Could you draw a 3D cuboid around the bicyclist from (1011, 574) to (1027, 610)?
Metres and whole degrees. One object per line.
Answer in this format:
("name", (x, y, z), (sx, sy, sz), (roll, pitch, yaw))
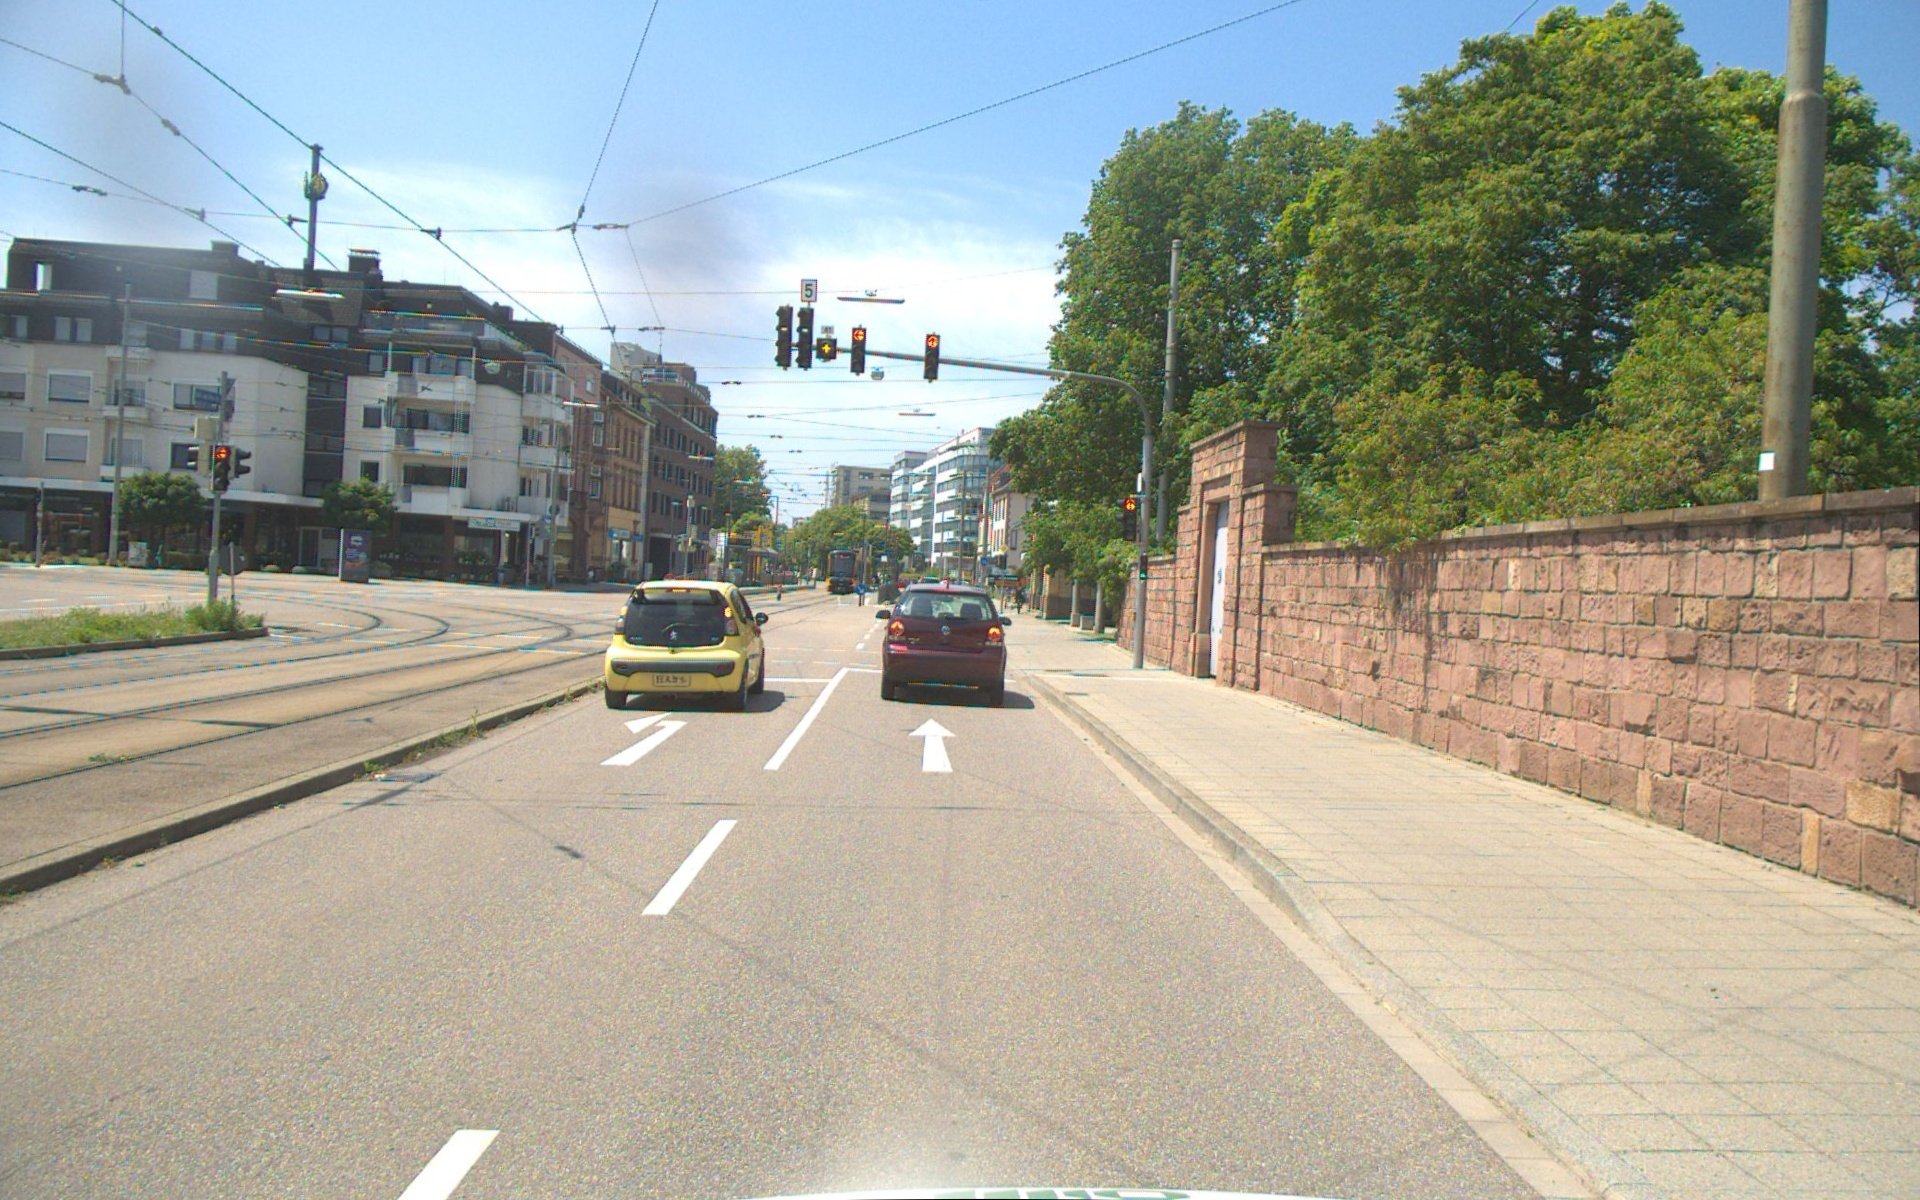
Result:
("bicyclist", (3.120, -0.423, 87.544), (0.707, 1.850, 0.888), (1, 0, -1))

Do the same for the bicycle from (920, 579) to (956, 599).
("bicycle", (-1.145, -0.590, 87.289), (1.829, 1.025, 0.578), (2, 0, -6))

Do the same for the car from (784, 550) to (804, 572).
("car", (-16.945, -3.975, 168.937), (1.700, 2.048, 3.999), (3, 1, -1))

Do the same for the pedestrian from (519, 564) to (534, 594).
("pedestrian", (-23.033, -1.133, 87.826), (0.474, 1.568, 0.537), (1, 0, 29))

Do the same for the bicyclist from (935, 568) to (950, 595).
("bicyclist", (-0.919, -0.983, 87.401), (0.751, 1.430, 0.506), (1, 0, -5))

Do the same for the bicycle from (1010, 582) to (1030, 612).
("bicycle", (3.151, -0.153, 87.115), (0.818, 1.552, 3.999), (1, 0, -1))

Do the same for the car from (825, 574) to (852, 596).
("car", (-9.666, -1.152, 131.764), (1.899, 1.670, 3.999), (1, 0, -2))

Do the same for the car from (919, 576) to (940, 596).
("car", (-2.281, -1.065, 122.425), (1.541, 1.440, 3.719), (1, 1, -2))

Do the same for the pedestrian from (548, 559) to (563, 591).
("pedestrian", (-22.314, -1.380, 91.202), (0.497, 1.785, 0.606), (1, -1, 45))

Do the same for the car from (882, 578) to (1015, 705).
("car", (-0.198, 0.487, 22.459), (1.577, 1.489, 4.084), (3, 1, -2))

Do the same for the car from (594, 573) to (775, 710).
("car", (-3.230, 0.437, 19.948), (1.689, 1.470, 3.292), (1, 1, -2))

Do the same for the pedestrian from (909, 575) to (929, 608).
("pedestrian", (-2.205, -0.451, 88.484), (0.962, 1.690, 0.918), (3, 0, -5))

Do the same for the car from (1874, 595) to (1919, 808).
("car", (7.635, 0.782, 10.862), (1.451, 1.508, 2.943), (3, 1, -3))
